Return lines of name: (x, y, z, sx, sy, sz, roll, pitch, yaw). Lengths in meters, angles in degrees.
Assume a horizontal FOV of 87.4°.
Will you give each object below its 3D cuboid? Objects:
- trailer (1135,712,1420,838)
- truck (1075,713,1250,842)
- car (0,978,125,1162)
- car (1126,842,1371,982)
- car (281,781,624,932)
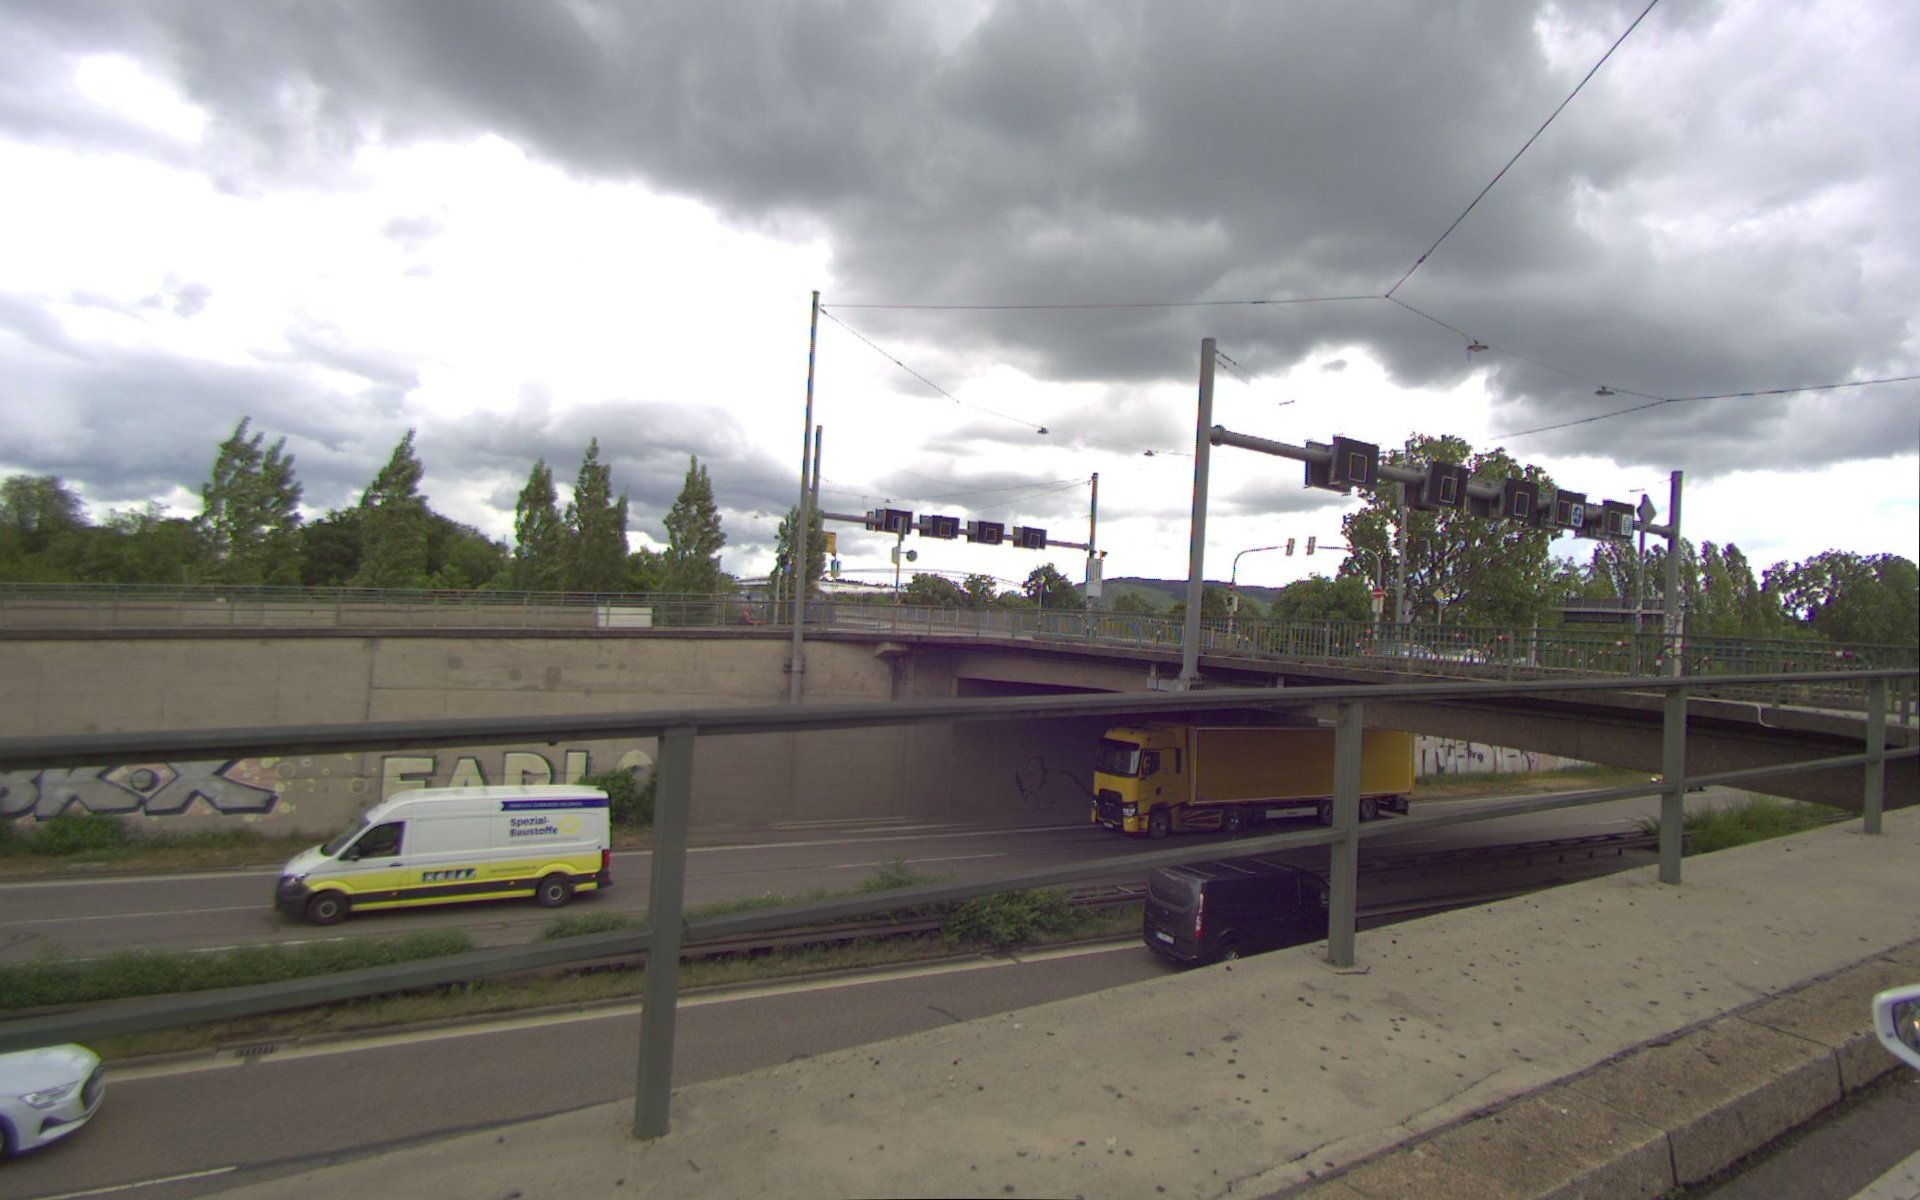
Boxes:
trailer: (13.478, 7.005, 41.630, 13.532, 4.317, 3.223, 5, -3, -32)
truck: (7.697, 6.549, 38.035, 5.739, 4.236, 3.225, 4, -3, -31)
car: (-12.315, 5.435, 11.145, 4.363, 1.440, 1.611, 4, -3, -29)
car: (6.314, 6.615, 21.787, 5.191, 2.040, 1.985, 4, -2, -29)
car: (-11.369, 5.679, 23.016, 6.635, 2.661, 1.985, 4, -4, -30)
